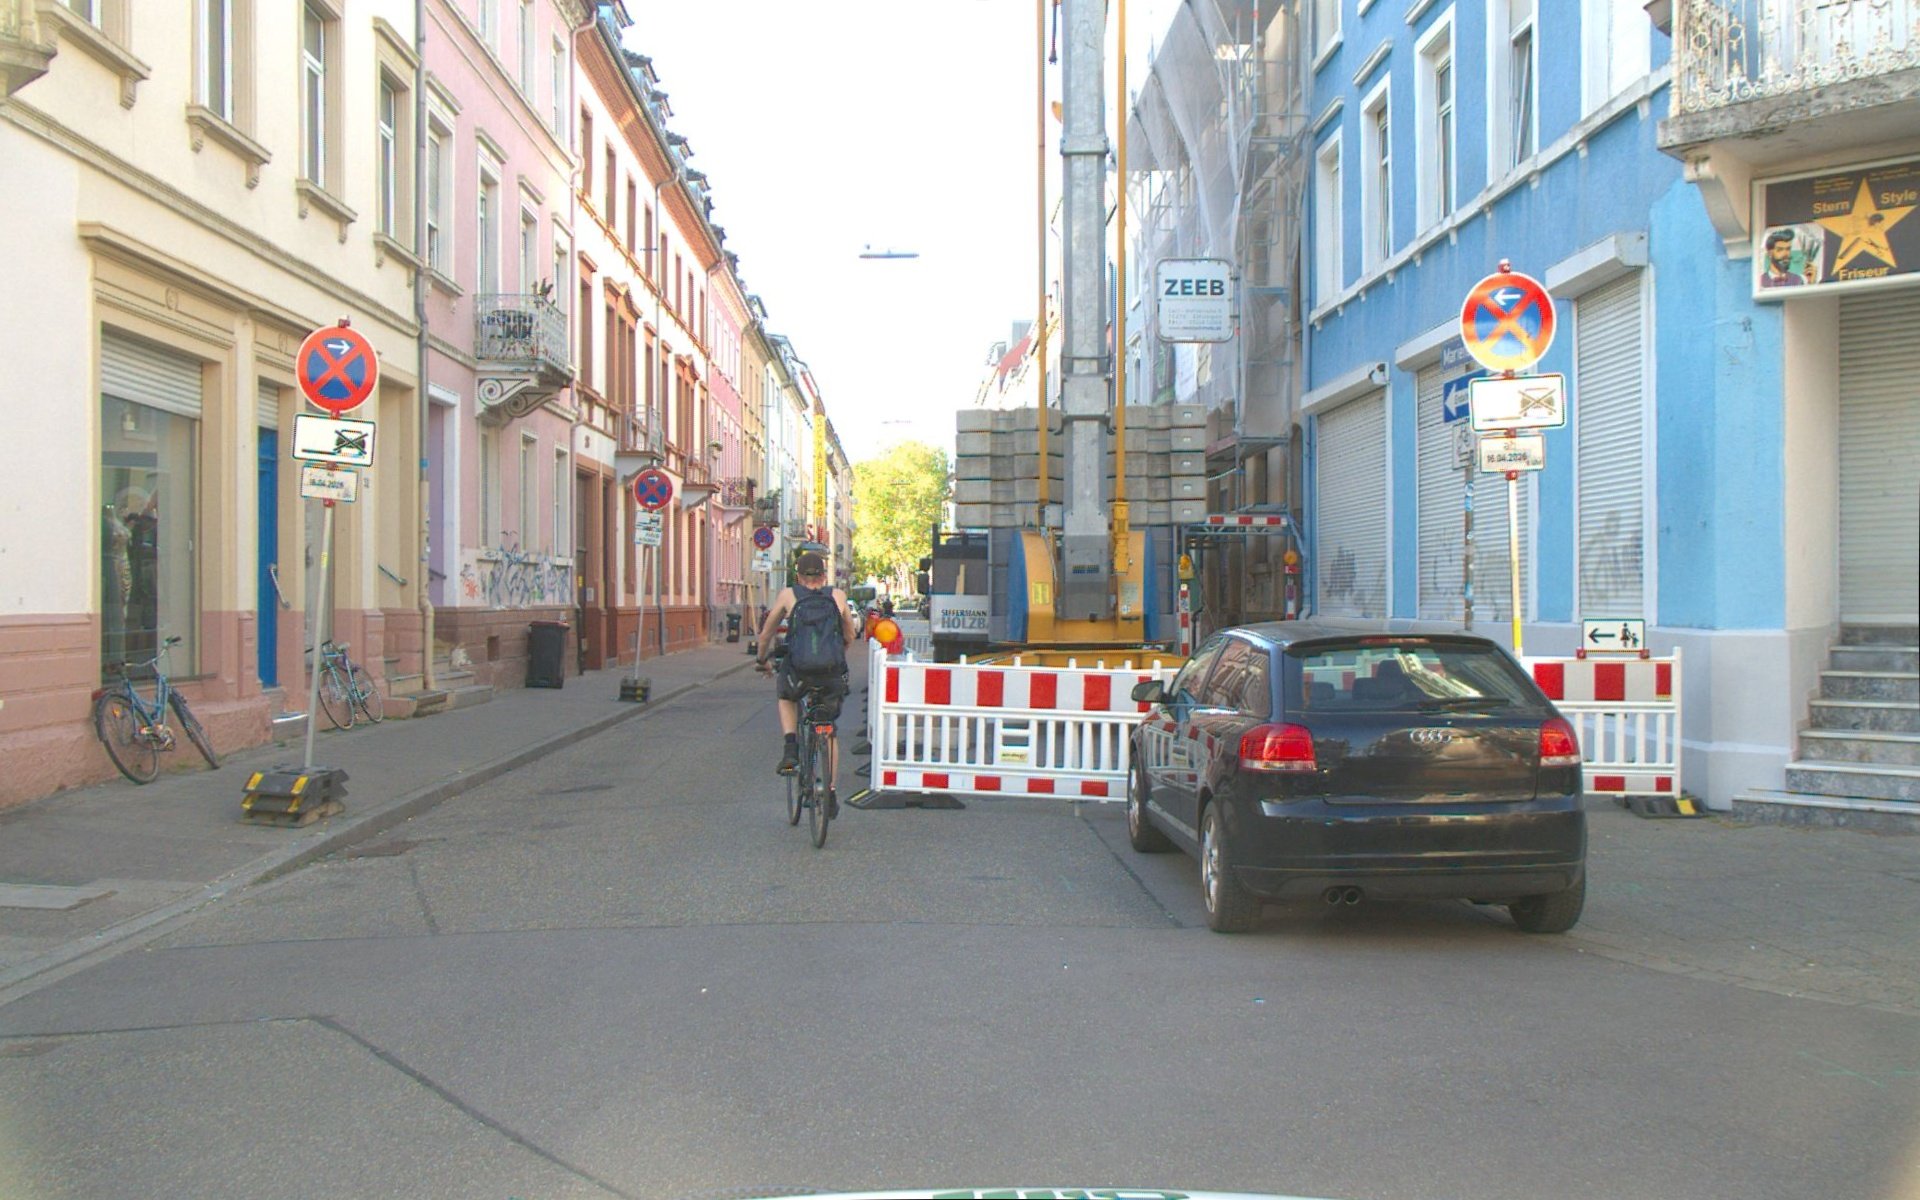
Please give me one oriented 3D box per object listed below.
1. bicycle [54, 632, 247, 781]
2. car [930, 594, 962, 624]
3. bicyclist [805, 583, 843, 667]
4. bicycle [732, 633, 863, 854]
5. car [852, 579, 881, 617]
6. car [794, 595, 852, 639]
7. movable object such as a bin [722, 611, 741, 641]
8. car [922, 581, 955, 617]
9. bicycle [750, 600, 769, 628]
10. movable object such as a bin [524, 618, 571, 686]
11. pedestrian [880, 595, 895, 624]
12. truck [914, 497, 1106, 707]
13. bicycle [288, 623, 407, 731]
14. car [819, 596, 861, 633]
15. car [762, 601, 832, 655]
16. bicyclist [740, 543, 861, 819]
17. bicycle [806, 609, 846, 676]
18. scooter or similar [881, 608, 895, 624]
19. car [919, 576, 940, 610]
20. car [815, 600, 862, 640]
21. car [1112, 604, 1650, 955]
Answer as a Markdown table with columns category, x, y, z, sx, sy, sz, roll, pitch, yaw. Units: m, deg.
| category | x | y | z | sx | sy | sz | roll | pitch | yaw |
| --- | --- | --- | --- | --- | --- | --- | --- | --- | --- |
| bicycle | -6.296 | 0.793 | 12.974 | 0.591 | 1.040 | 1.817 | 4 | -1 | -2 |
| car | -0.789 | 0.498 | 91.867 | 1.588 | 1.577 | 3.998 | -2 | 0 | -2 |
| bicyclist | -2.698 | 0.490 | 32.887 | 0.688 | 1.633 | 0.812 | -1 | 1 | -3 |
| bicycle | -1.003 | 0.848 | 10.681 | 0.688 | 1.229 | 2.341 | 0 | 0 | -2 |
| car | -6.390 | -0.150 | 112.742 | 1.872 | 2.540 | 4.162 | -1 | 0 | -4 |
| car | -4.789 | 0.583 | 58.416 | 1.675 | 1.407 | 4.356 | 0 | 1 | 0 |
| movable object such as a bin | -7.410 | 0.844 | 53.652 | 0.532 | 0.961 | 0.487 | 1 | -1 | -1 |
| car | -1.630 | -0.044 | 124.067 | 2.261 | 2.582 | 6.766 | -2 | 0 | -2 |
| bicycle | -8.118 | 0.579 | 66.972 | 0.580 | 1.108 | 2.078 | 1 | 0 | -2 |
| movable object such as a bin | -6.527 | 0.814 | 26.203 | 0.593 | 1.053 | 0.596 | 1 | -1 | -4 |
| pedestrian | -4.044 | 0.529 | 92.217 | 0.756 | 1.606 | 0.899 | 1 | -1 | -6 |
| truck | 0.596 | 0.053 | 26.650 | 2.608 | 2.863 | 7.390 | 1 | 0 | -2 |
| bicycle | -6.473 | 0.790 | 17.573 | 0.609 | 1.040 | 1.817 | 1 | 0 | -2 |
| car | -5.142 | 0.615 | 71.272 | 1.638 | 1.467 | 3.766 | -2 | 0 | -2 |
| car | -4.672 | 0.784 | 47.877 | 1.676 | 1.407 | 4.503 | -2 | 0 | -2 |
| bicyclist | -0.993 | 0.494 | 10.515 | 0.688 | 1.662 | 1.089 | 0 | -1 | -2 |
| bicycle | -2.670 | 0.826 | 33.048 | 0.688 | 1.229 | 2.341 | -1 | 1 | -2 |
| scooter or similar | -3.993 | 0.880 | 91.667 | 0.756 | 0.888 | 0.770 | 1 | -1 | -6 |
| car | -3.656 | -0.798 | 197.114 | 2.261 | 3.833 | 6.766 | -2 | 0 | -2 |
| car | -4.770 | 0.757 | 65.457 | 1.638 | 1.467 | 4.163 | -2 | 0 | -2 |
| car | 1.976 | 0.770 | 9.008 | 1.736 | 1.459 | 4.032 | 1 | 0 | -3 |
